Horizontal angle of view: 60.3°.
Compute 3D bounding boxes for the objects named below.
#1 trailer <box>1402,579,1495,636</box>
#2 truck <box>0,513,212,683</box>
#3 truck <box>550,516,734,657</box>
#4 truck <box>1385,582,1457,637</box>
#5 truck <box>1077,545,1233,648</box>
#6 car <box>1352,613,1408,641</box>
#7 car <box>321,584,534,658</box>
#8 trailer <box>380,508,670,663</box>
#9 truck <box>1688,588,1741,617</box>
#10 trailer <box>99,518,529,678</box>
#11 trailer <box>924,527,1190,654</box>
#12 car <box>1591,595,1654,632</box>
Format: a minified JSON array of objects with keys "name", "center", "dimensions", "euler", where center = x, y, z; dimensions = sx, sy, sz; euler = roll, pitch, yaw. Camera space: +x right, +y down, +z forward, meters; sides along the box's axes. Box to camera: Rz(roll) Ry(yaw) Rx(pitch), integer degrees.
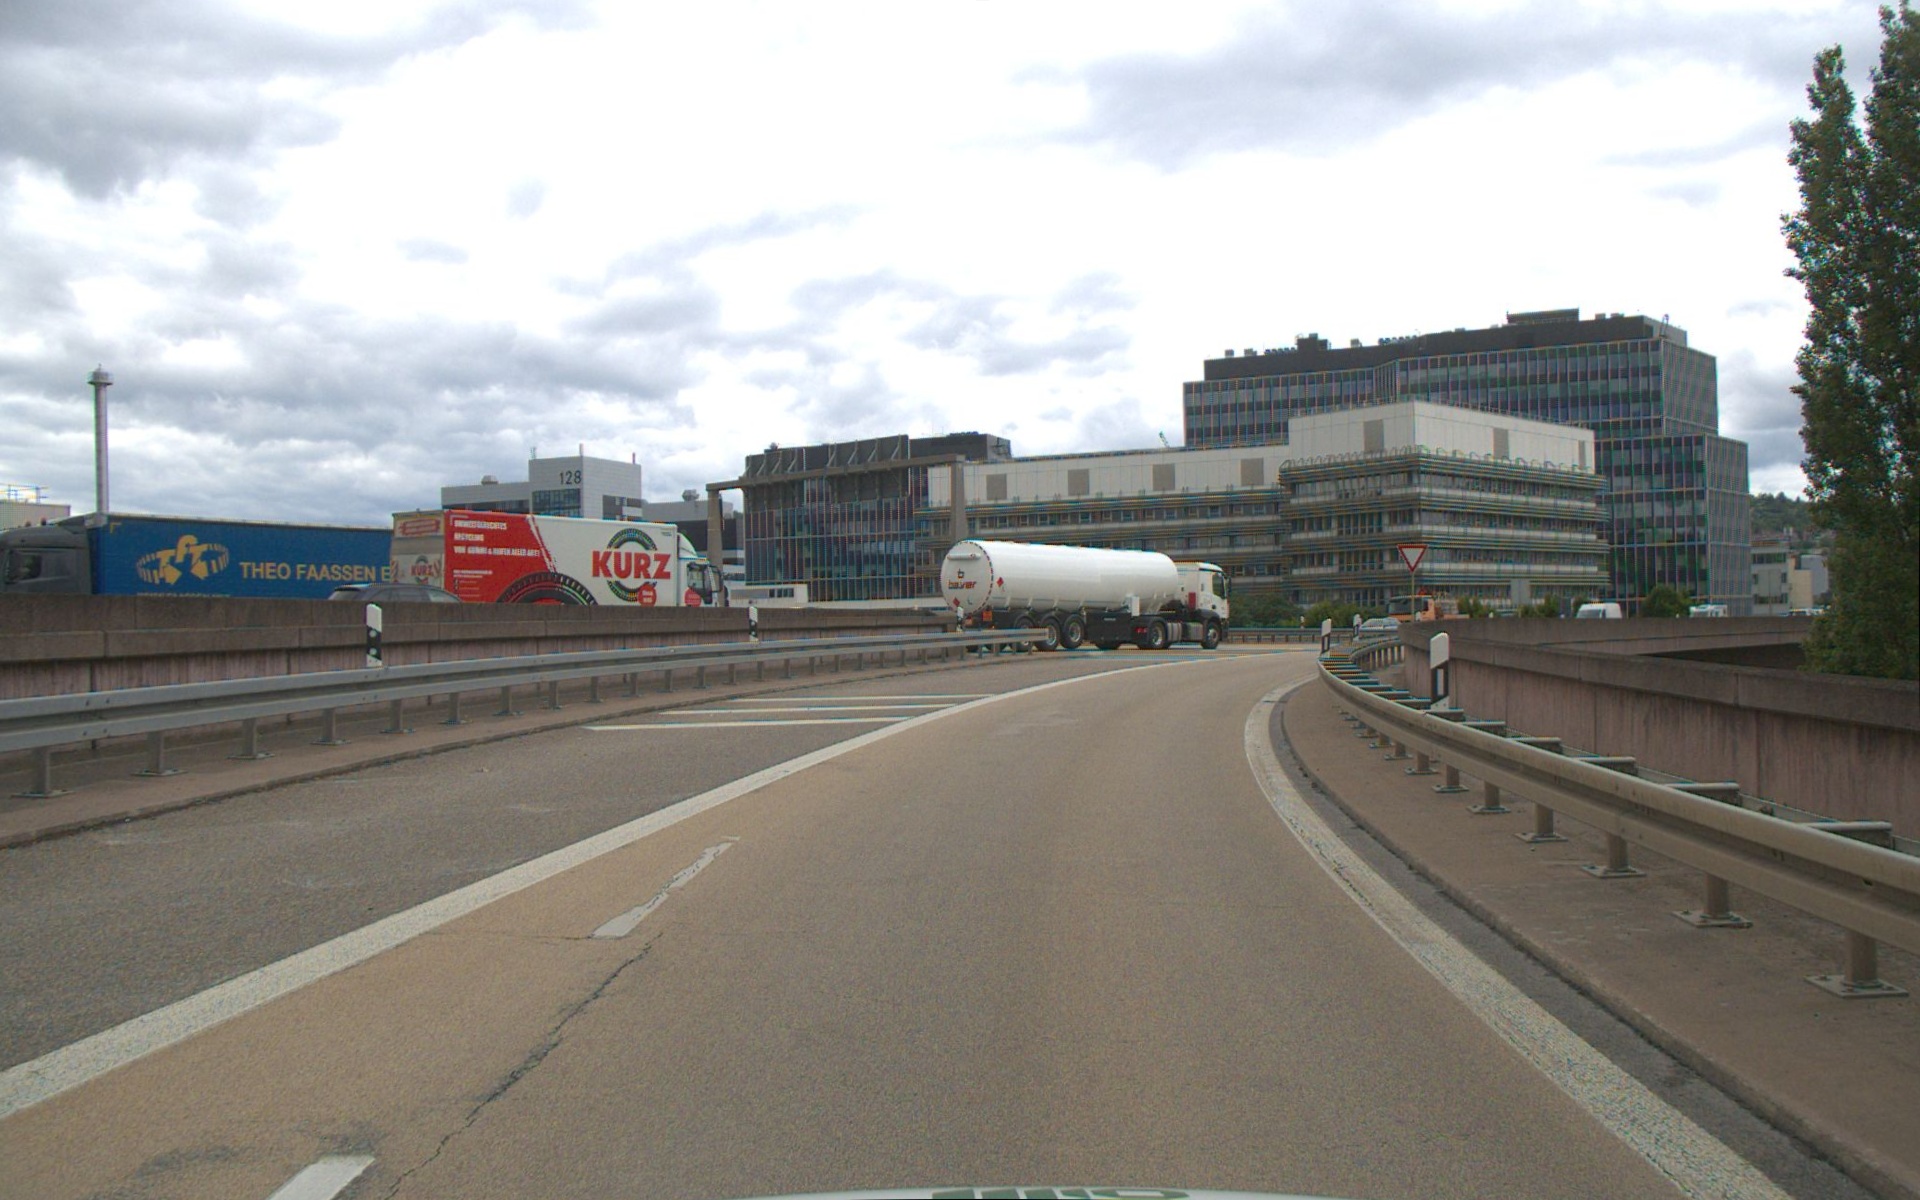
[{"name":"trailer","center":[33.395,0.519,112.838],"dimensions":[2.691,3.700,9.309],"euler":[-2,-1,39]},{"name":"truck","center":[-24.268,-0.009,45.876],"dimensions":[3.115,4.423,5.661],"euler":[-2,-2,41]},{"name":"truck","center":[-8.965,-0.326,46.861],"dimensions":[2.650,3.755,4.415],"euler":[-2,-2,40]},{"name":"truck","center":[30.431,0.638,109.183],"dimensions":[2.699,3.541,5.080],"euler":[-2,-2,39]},{"name":"truck","center":[7.055,-0.082,59.420],"dimensions":[2.727,3.490,5.933],"euler":[-2,-2,40]},{"name":"car","center":[24.356,1.537,95.819],"dimensions":[1.620,1.545,3.817],"euler":[-2,-1,41]},{"name":"car","center":[-11.886,0.459,37.108],"dimensions":[1.819,1.531,4.241],"euler":[1,0,40]},{"name":"trailer","center":[-11.387,-0.323,43.929],"dimensions":[2.649,3.755,7.274],"euler":[-2,-1,40]},{"name":"truck","center":[71.760,0.234,157.212],"dimensions":[2.455,2.673,7.302],"euler":[-2,-2,42]},{"name":"trailer","center":[-19.588,-0.006,51.341],"dimensions":[3.114,4.423,12.447],"euler":[-2,-1,41]},{"name":"trailer","center":[3.495,-0.261,55.137],"dimensions":[2.749,3.803,11.096],"euler":[-2,-1,40]},{"name":"car","center":[49.557,0.993,123.594],"dimensions":[2.540,2.690,6.156],"euler":[-1,-1,41]}]
